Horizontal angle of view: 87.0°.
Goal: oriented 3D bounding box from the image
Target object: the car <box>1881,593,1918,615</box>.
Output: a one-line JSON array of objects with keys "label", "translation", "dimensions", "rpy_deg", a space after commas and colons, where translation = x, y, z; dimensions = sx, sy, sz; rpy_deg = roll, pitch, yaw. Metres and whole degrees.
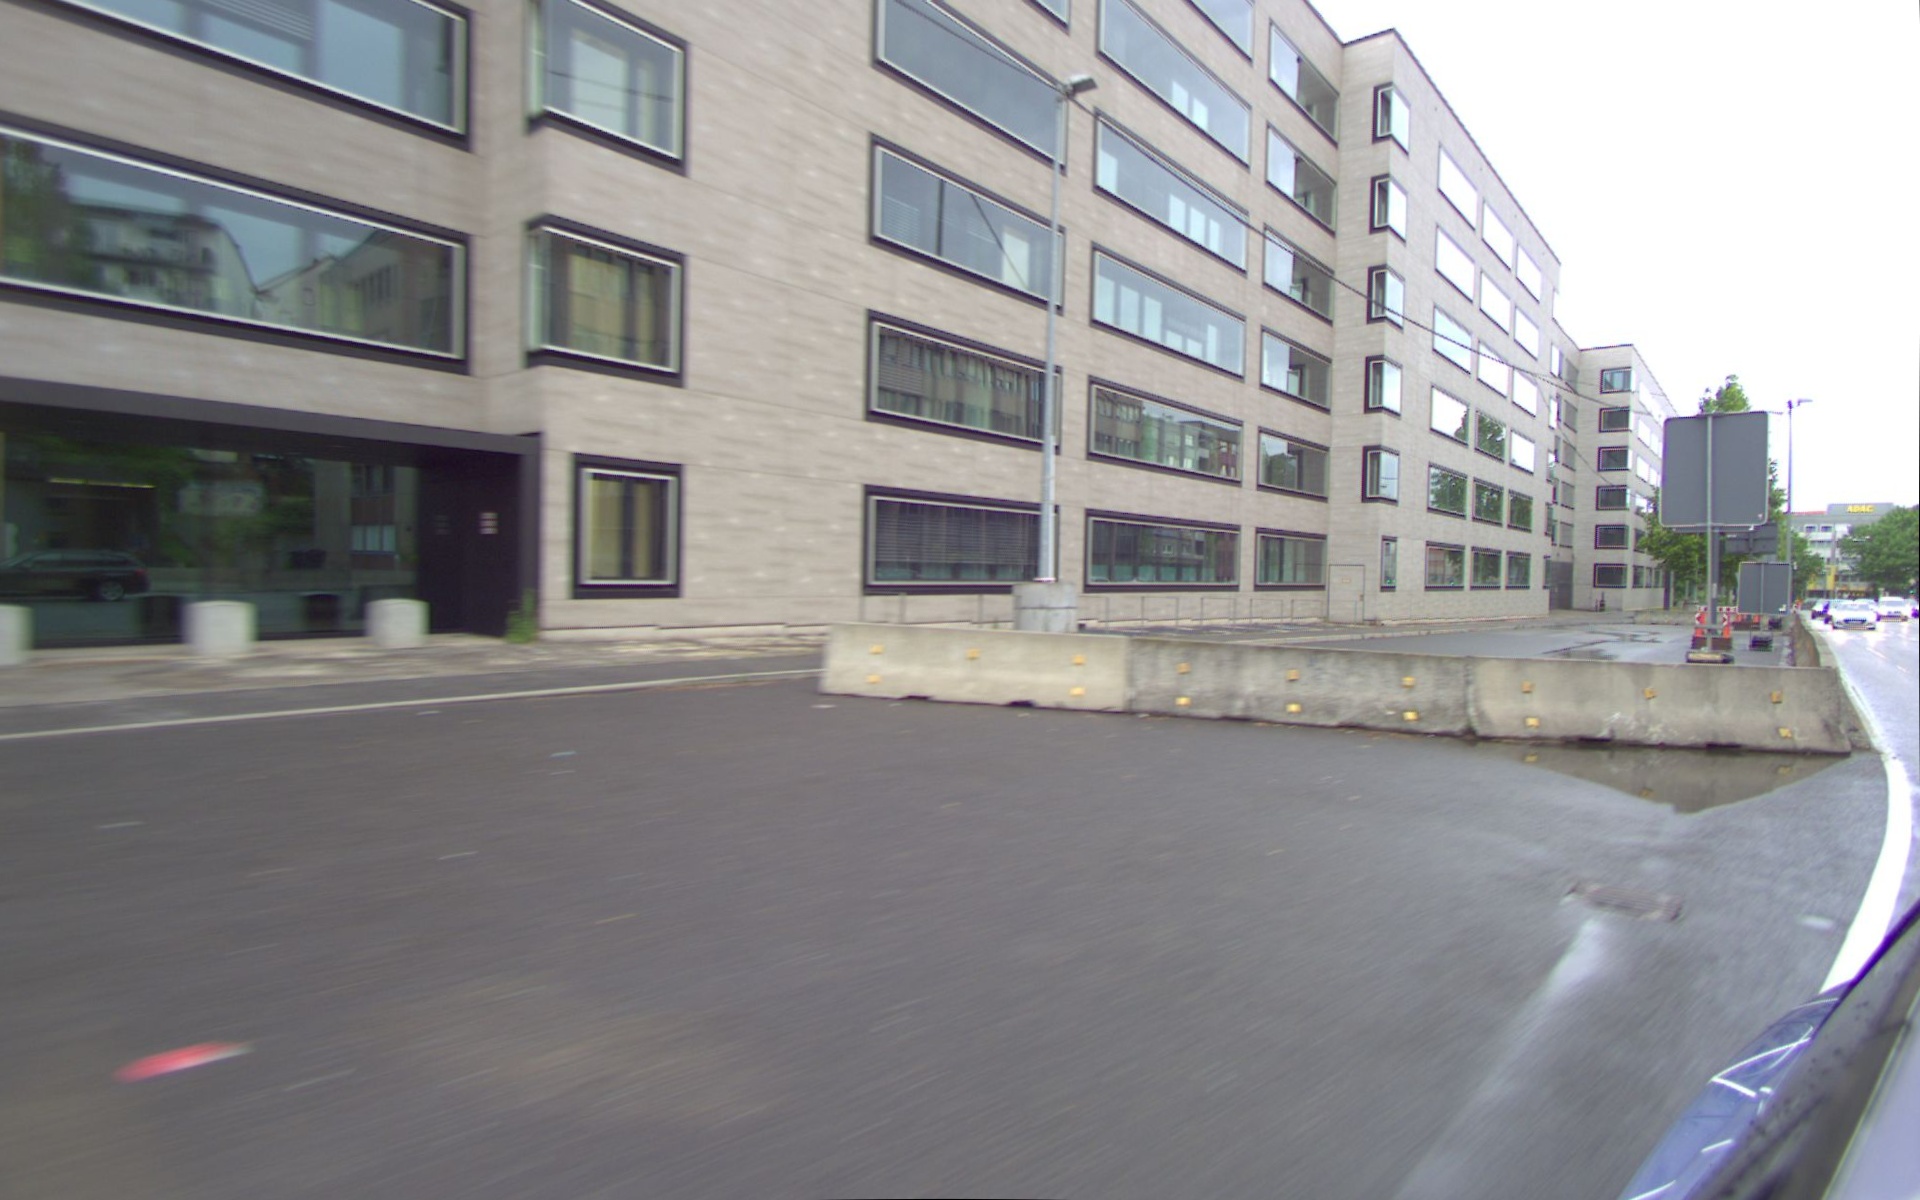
[{"label": "car", "translation": [71.232, 0.278, 76.752], "dimensions": [1.766, 1.552, 4.589], "rpy_deg": [2, 2, 40]}]

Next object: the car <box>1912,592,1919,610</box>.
[{"label": "car", "translation": [87.487, 0.103, 91.503], "dimensions": [1.766, 1.552, 4.589], "rpy_deg": [2, 2, 40]}]

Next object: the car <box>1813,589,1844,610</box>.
[{"label": "car", "translation": [68.037, -0.064, 79.318], "dimensions": [1.766, 1.552, 4.589], "rpy_deg": [2, 2, 40]}]

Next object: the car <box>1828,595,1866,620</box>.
[{"label": "car", "translation": [59.080, 0.450, 67.476], "dimensions": [1.766, 1.552, 4.589], "rpy_deg": [2, 2, 40]}]

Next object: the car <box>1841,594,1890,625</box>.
[{"label": "car", "translation": [48.630, 0.466, 54.427], "dimensions": [1.766, 1.552, 4.589], "rpy_deg": [2, 2, 40]}]

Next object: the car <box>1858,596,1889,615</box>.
[{"label": "car", "translation": [80.433, 0.463, 89.125], "dimensions": [1.766, 1.552, 4.589], "rpy_deg": [2, 2, 40]}]
